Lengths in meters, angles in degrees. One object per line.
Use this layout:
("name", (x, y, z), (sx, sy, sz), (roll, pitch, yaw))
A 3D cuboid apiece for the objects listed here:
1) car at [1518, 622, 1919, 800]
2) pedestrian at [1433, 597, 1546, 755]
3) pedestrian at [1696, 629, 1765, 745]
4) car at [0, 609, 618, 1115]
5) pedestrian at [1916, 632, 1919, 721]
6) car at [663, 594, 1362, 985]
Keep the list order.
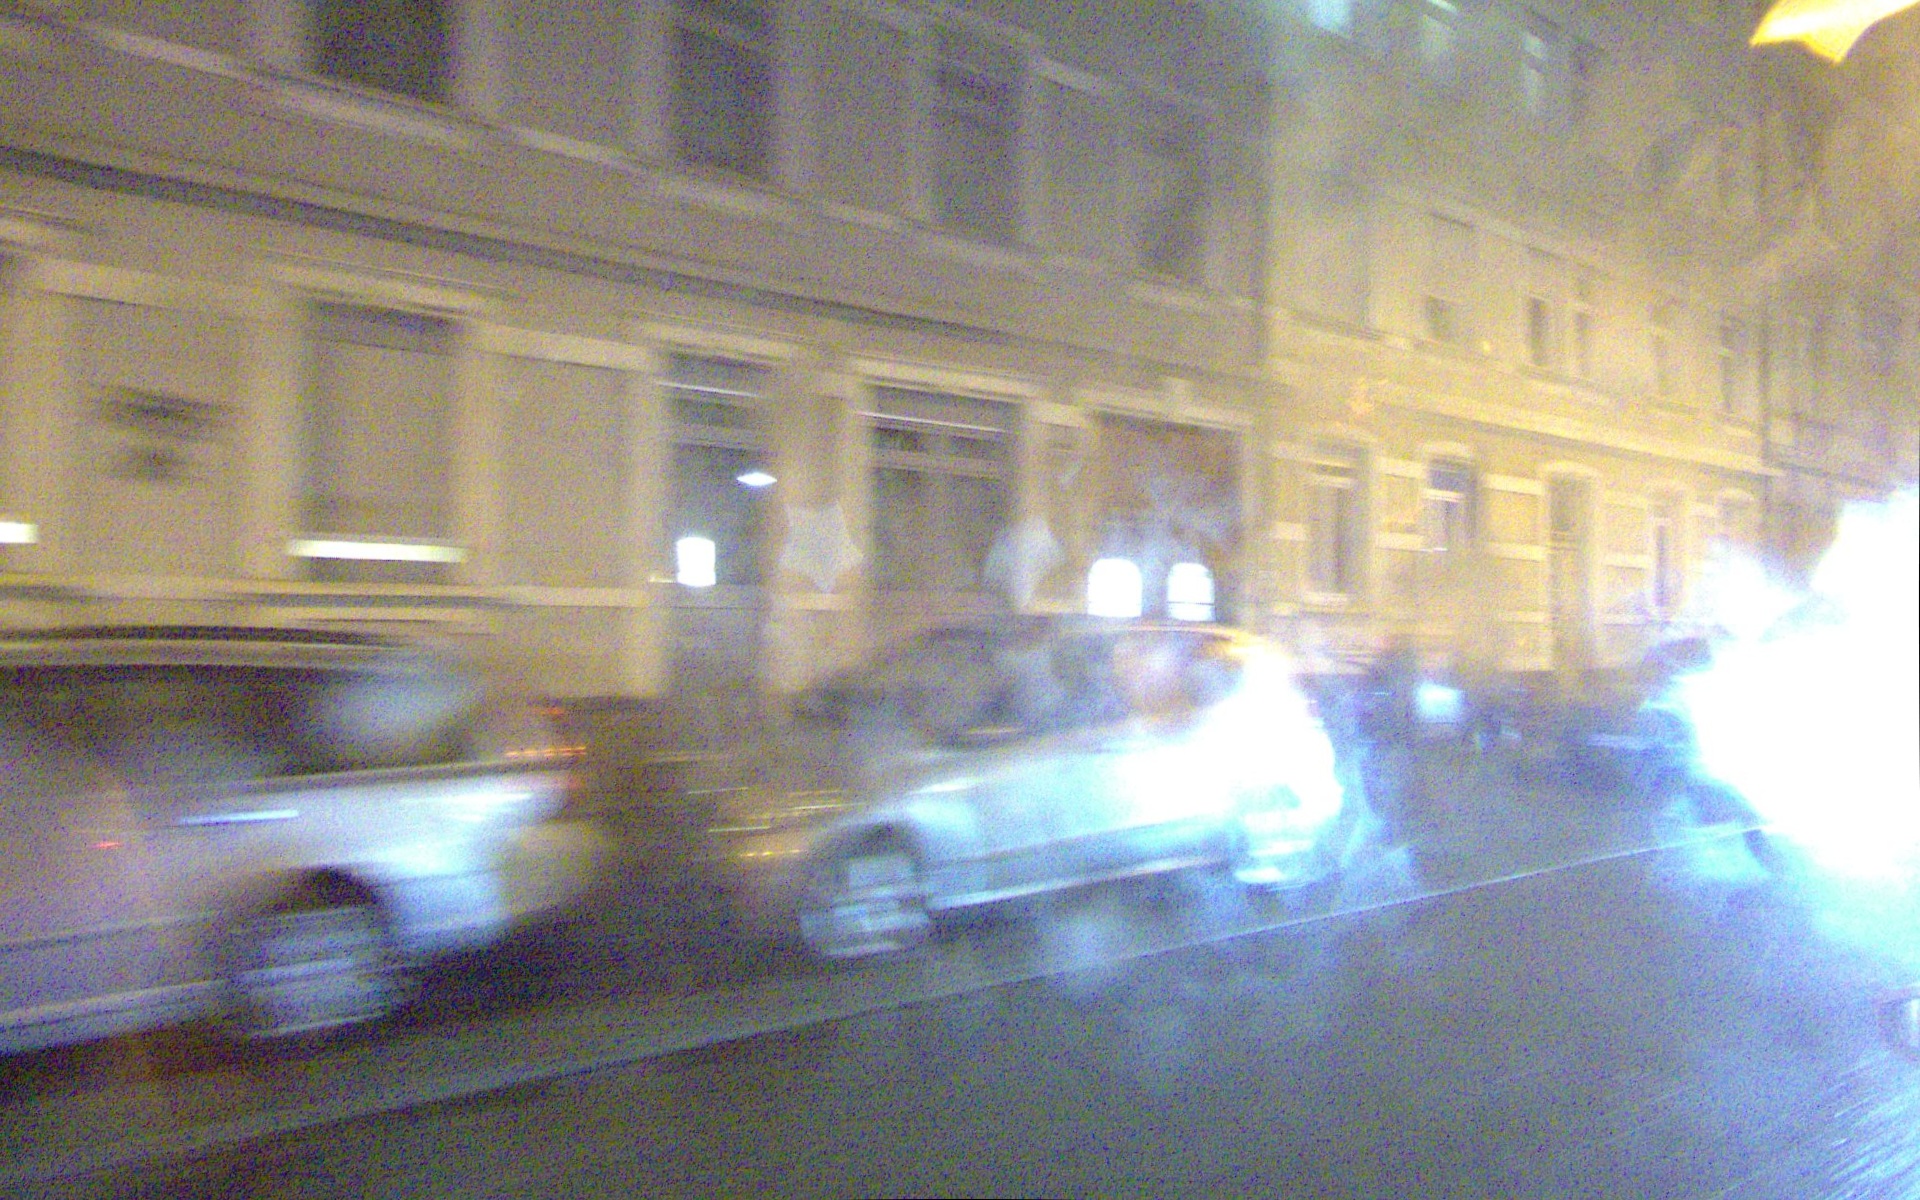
("car", (8.031, 1.016, 10.467), (4.540, 1.506, 1.824), (2, -2, -30))
("pedestrian", (6.423, 0.895, 12.203), (0.973, 1.828, 0.740), (2, 0, -26))
("pedestrian", (11.066, 1.224, 14.426), (0.757, 1.573, 0.649), (2, 0, -44))
("car", (-3.610, 0.785, 3.599), (4.255, 1.500, 1.824), (2, -2, -30))
("pedestrian", (17.688, 1.177, 17.924), (0.761, 2.000, 0.653), (2, 0, -29))
("car", (0.368, 0.836, 5.833), (3.721, 1.609, 1.737), (1, -2, -30))
